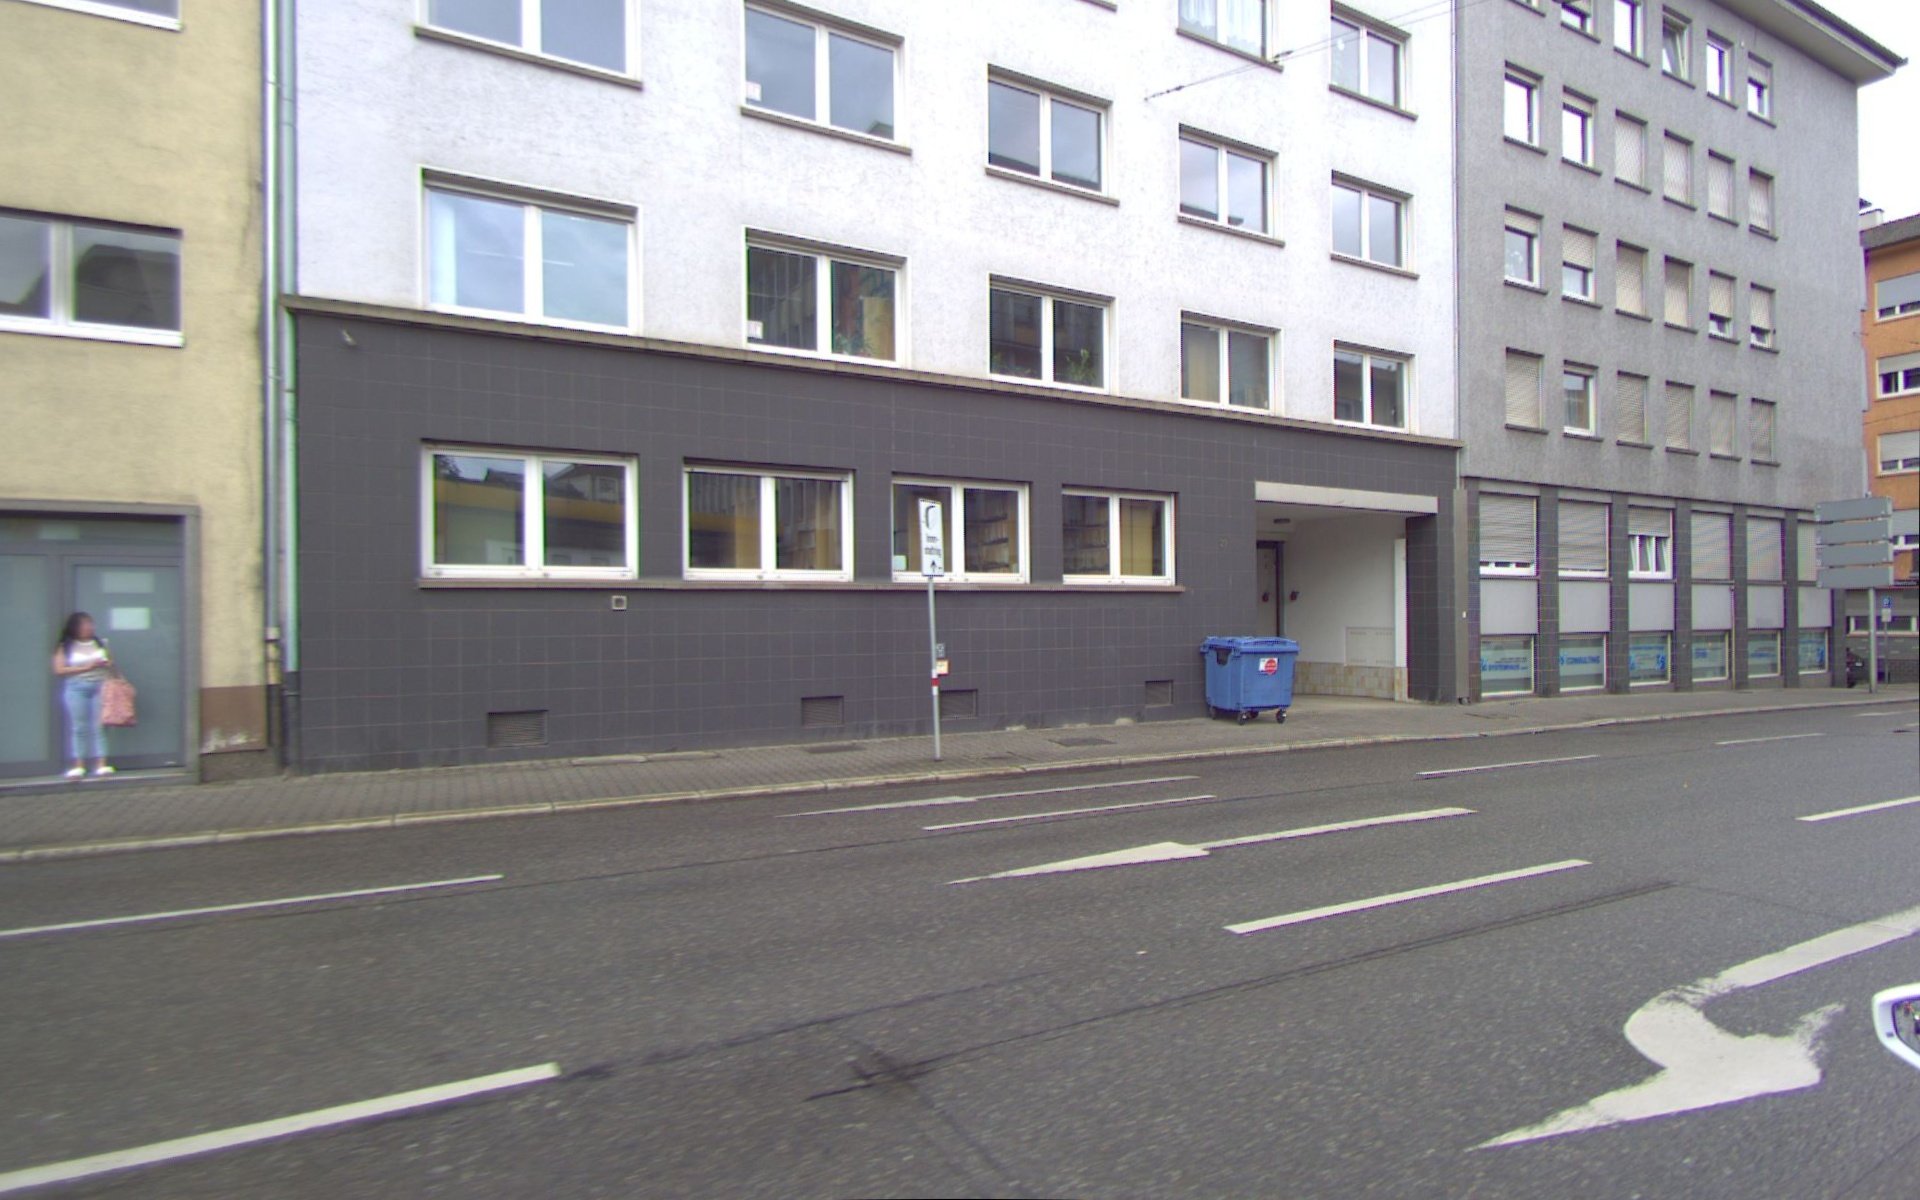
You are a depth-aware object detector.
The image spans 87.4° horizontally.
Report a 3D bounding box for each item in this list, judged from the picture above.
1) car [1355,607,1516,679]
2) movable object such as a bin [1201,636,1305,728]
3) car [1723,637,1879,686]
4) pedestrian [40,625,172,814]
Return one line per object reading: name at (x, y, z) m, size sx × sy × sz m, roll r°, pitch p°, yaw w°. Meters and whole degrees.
car at (18.332, 1.733, 38.997) m, size 1.962 × 2.490 × 5.313 m, roll 1°, pitch -5°, yaw -33°
movable object such as a bin at (4.658, 1.276, 16.022) m, size 1.176 × 1.342 × 1.072 m, roll 1°, pitch 0°, yaw -28°
car at (31.494, 2.339, 37.741) m, size 1.906 × 1.673 × 3.974 m, roll 1°, pitch -5°, yaw -28°
pedestrian at (-8.228, 1.110, 9.716) m, size 0.800 × 1.712 × 0.715 m, roll 1°, pitch 0°, yaw -26°
